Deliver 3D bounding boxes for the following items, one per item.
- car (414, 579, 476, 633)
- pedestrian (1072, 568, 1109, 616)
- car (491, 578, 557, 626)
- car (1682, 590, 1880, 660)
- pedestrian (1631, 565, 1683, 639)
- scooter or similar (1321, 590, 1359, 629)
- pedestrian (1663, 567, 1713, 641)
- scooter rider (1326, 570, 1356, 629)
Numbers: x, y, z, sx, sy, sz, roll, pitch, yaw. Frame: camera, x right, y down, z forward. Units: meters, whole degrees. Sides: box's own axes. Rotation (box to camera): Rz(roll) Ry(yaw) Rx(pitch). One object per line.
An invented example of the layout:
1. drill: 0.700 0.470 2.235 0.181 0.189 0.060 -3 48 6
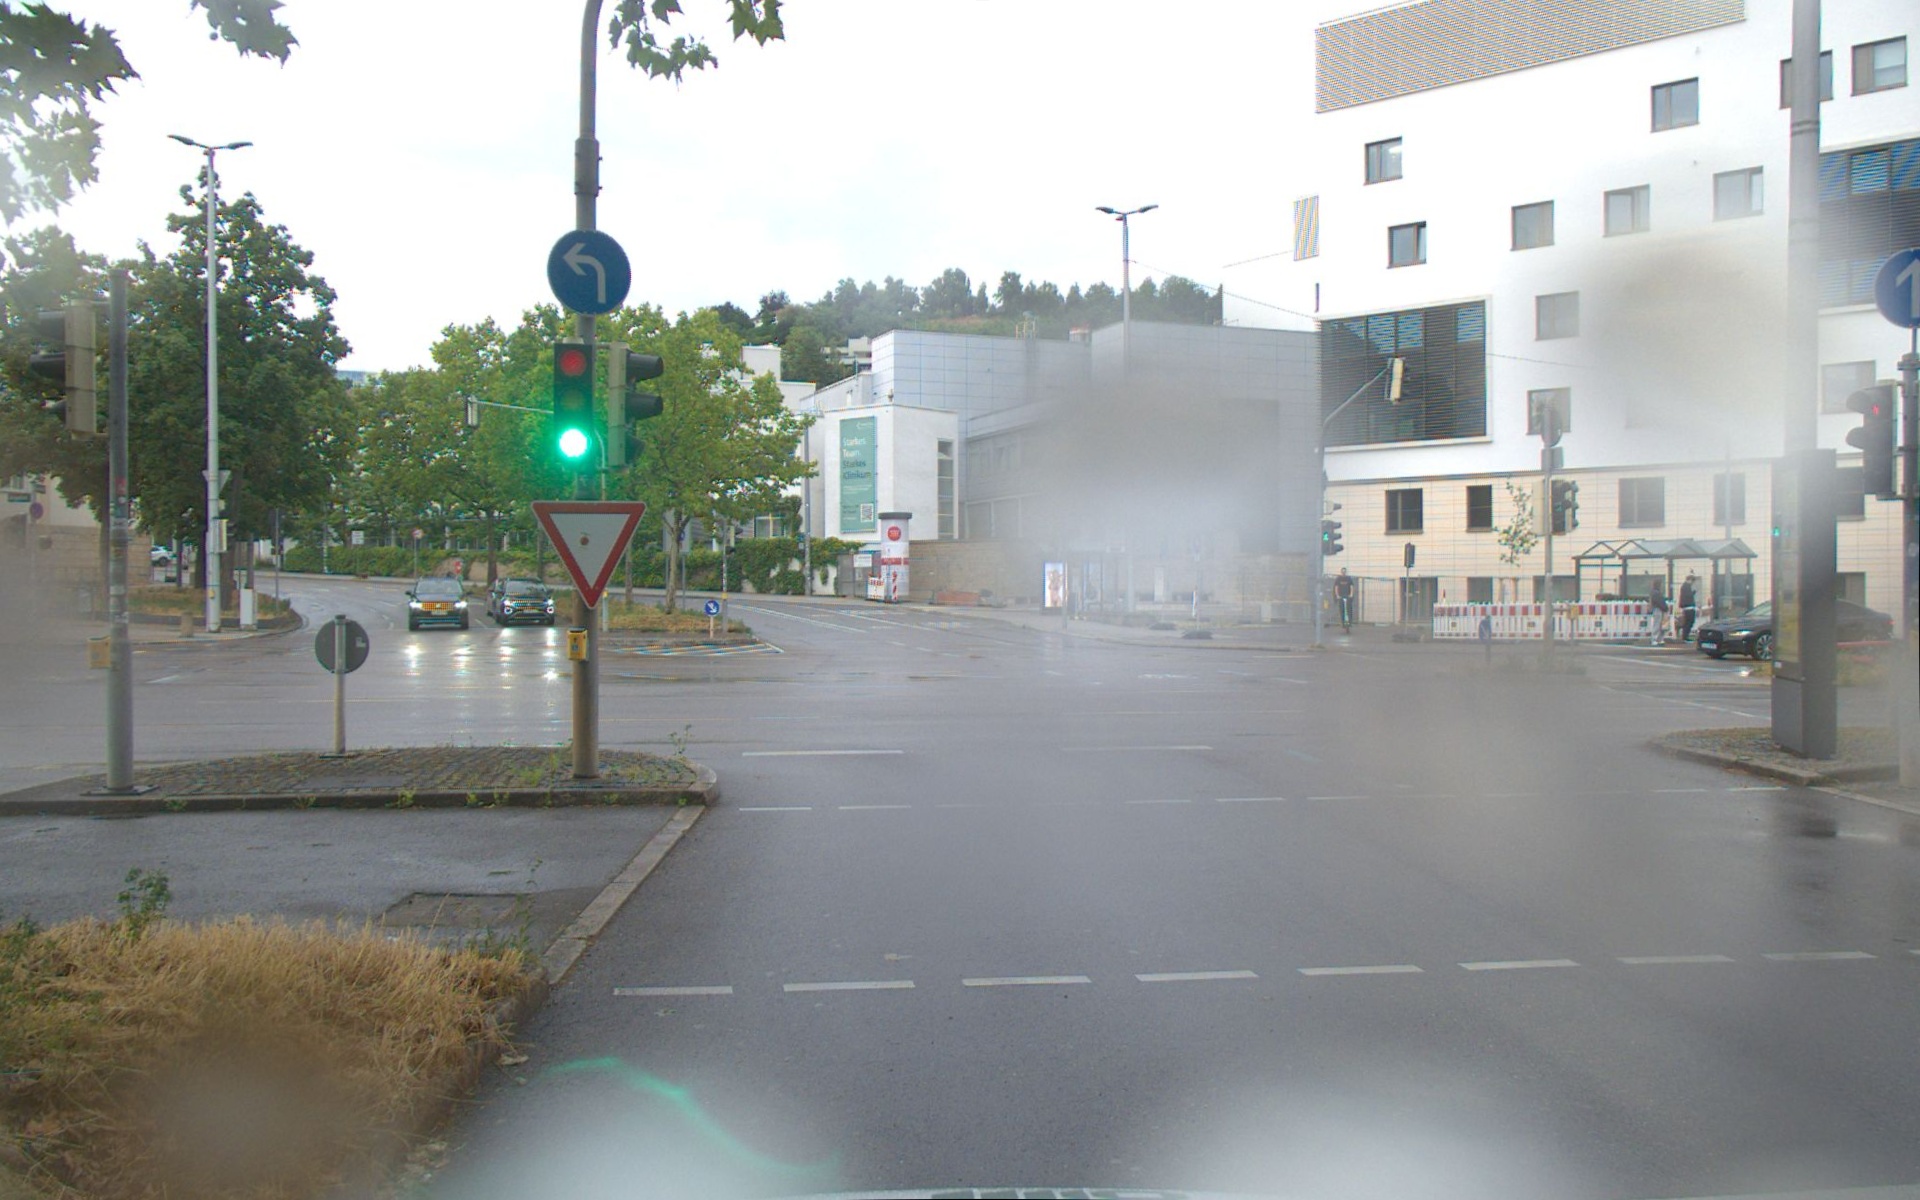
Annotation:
1. car: -16.665 0.146 53.508 1.839 1.591 4.255 -1 2 -18
2. pedestrian: 4.892 -0.285 61.851 1.232 1.749 1.016 1 -1 -2
3. car: -15.186 0.039 57.478 1.764 1.612 3.973 0 1 -22
4. car: 19.013 0.573 38.330 3.921 1.469 1.790 2 0 -16
5. pedestrian: 17.957 0.050 42.626 0.934 1.872 0.821 2 -1 -12
6. scooter or similar: 12.516 0.325 54.493 0.582 1.260 1.305 2 -1 -22
7. pedestrian: 19.636 0.114 44.637 0.980 1.969 0.955 1 -1 9
8. scooter rider: 12.555 -0.003 54.494 0.713 1.916 0.628 2 -1 -21
